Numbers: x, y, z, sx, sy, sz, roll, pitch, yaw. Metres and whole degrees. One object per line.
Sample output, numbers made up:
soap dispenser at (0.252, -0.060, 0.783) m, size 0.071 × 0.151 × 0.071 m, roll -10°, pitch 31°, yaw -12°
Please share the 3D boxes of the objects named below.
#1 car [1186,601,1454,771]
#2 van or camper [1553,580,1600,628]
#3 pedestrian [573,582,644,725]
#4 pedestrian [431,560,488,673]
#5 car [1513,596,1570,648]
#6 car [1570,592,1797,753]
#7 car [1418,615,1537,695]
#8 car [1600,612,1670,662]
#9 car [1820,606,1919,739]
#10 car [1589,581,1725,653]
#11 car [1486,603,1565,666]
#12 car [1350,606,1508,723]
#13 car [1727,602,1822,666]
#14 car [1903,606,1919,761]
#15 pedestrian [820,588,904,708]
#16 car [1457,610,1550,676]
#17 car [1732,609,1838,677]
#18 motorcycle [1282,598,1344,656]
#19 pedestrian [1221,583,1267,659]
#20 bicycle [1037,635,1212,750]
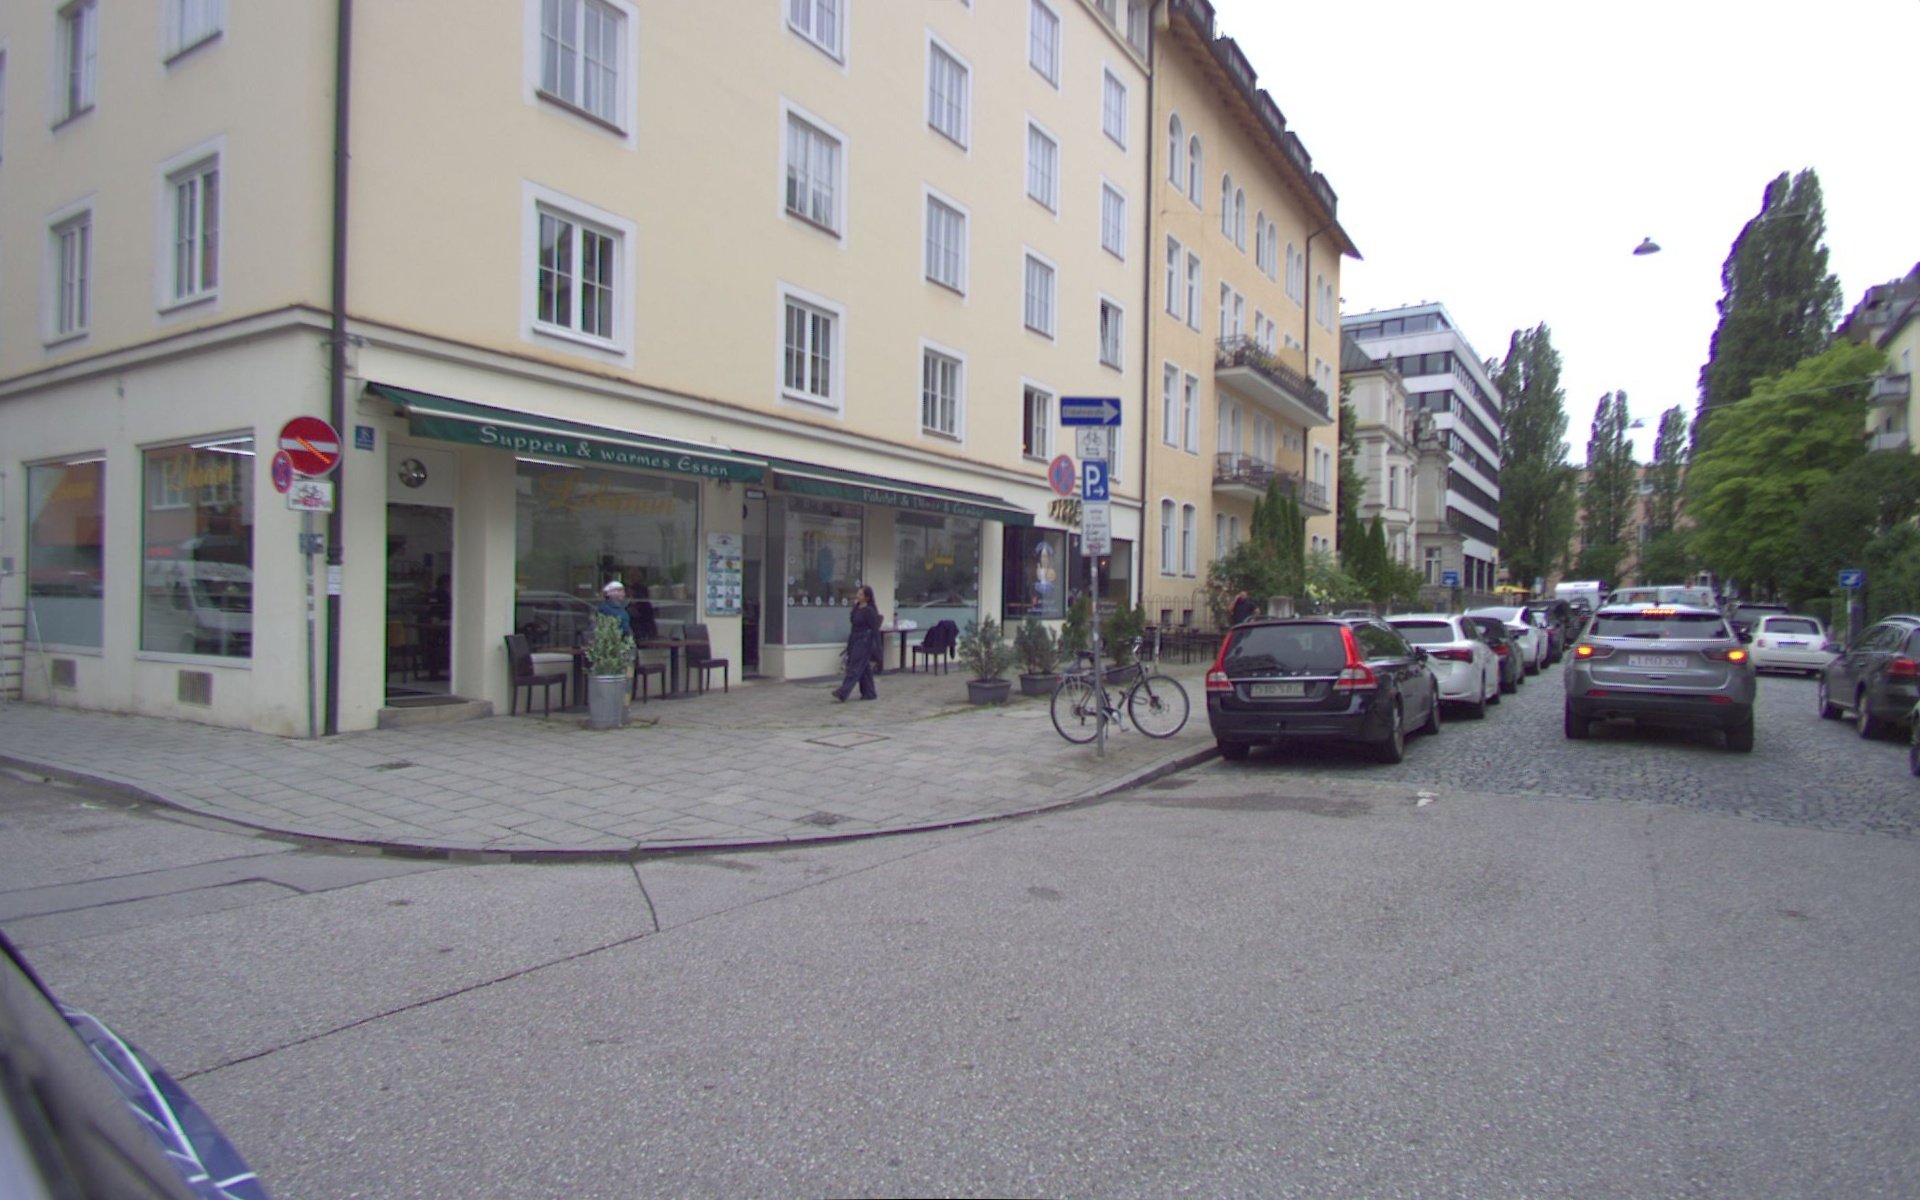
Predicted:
car at (4.237, 0.827, 11.426) m, size 1.897 × 1.527 × 4.300 m, roll -4°, pitch -2°, yaw 32°
van or camper at (39.069, 0.256, 64.099) m, size 2.421 × 2.957 × 5.311 m, roll 0°, pitch 0°, yaw 33°
pedestrian at (-4.200, 0.618, 12.108) m, size 0.534 × 1.654 × 0.602 m, roll 0°, pitch 0°, yaw 18°
pedestrian at (-7.948, 0.272, 16.074) m, size 0.746 × 1.738 × 0.772 m, roll 2°, pitch -1°, yaw -27°
car at (22.654, 0.823, 39.348) m, size 1.703 × 1.874 × 3.955 m, roll 0°, pitch 0°, yaw 33°
car at (8.742, 0.763, 12.515) m, size 1.958 × 1.620 × 4.261 m, roll 0°, pitch -1°, yaw 33°
car at (10.032, 0.981, 19.489) m, size 1.590 × 1.351 × 3.768 m, roll 0°, pitch 0°, yaw 34°
car at (19.242, 1.012, 28.872) m, size 1.602 × 1.340 × 2.919 m, roll 0°, pitch 0°, yaw 34°
car at (12.165, 0.830, 12.805) m, size 1.649 × 1.484 × 3.951 m, roll 0°, pitch 0°, yaw 36°
car at (25.842, 0.593, 37.753) m, size 2.135 × 2.494 × 4.597 m, roll 0°, pitch 0°, yaw 4°
car at (16.124, 0.922, 28.765) m, size 1.703 × 1.660 × 3.955 m, roll 0°, pitch 0°, yaw 33°
car at (7.247, 0.883, 15.420) m, size 1.678 × 1.519 × 4.218 m, roll -2°, pitch -2°, yaw 31°
car at (23.087, 0.911, 28.820) m, size 1.703 × 1.660 × 3.955 m, roll 0°, pitch 0°, yaw 33°
car at (9.153, 0.799, 8.198) m, size 1.682 × 1.460 × 3.952 m, roll 0°, pitch 0°, yaw 35°
pedestrian at (-1.342, 0.630, 13.947) m, size 0.747 × 1.563 × 0.843 m, roll 3°, pitch 2°, yaw 32°
car at (13.296, 0.986, 24.657) m, size 1.616 × 1.453 × 3.953 m, roll 0°, pitch 0°, yaw 34°
car at (20.299, 0.991, 25.035) m, size 1.683 × 1.545 × 3.825 m, roll 0°, pitch 0°, yaw 34°
motorcycle at (9.575, 0.730, 27.359) m, size 0.961 × 1.473 × 2.857 m, roll 0°, pitch -2°, yaw 32°
pedestrian at (6.414, 0.460, 22.812) m, size 0.731 × 1.669 × 0.783 m, roll 3°, pitch 1°, yaw 34°
bicycle at (1.816, 0.995, 11.196) m, size 1.803 × 1.178 × 0.611 m, roll 1°, pitch 1°, yaw -18°
